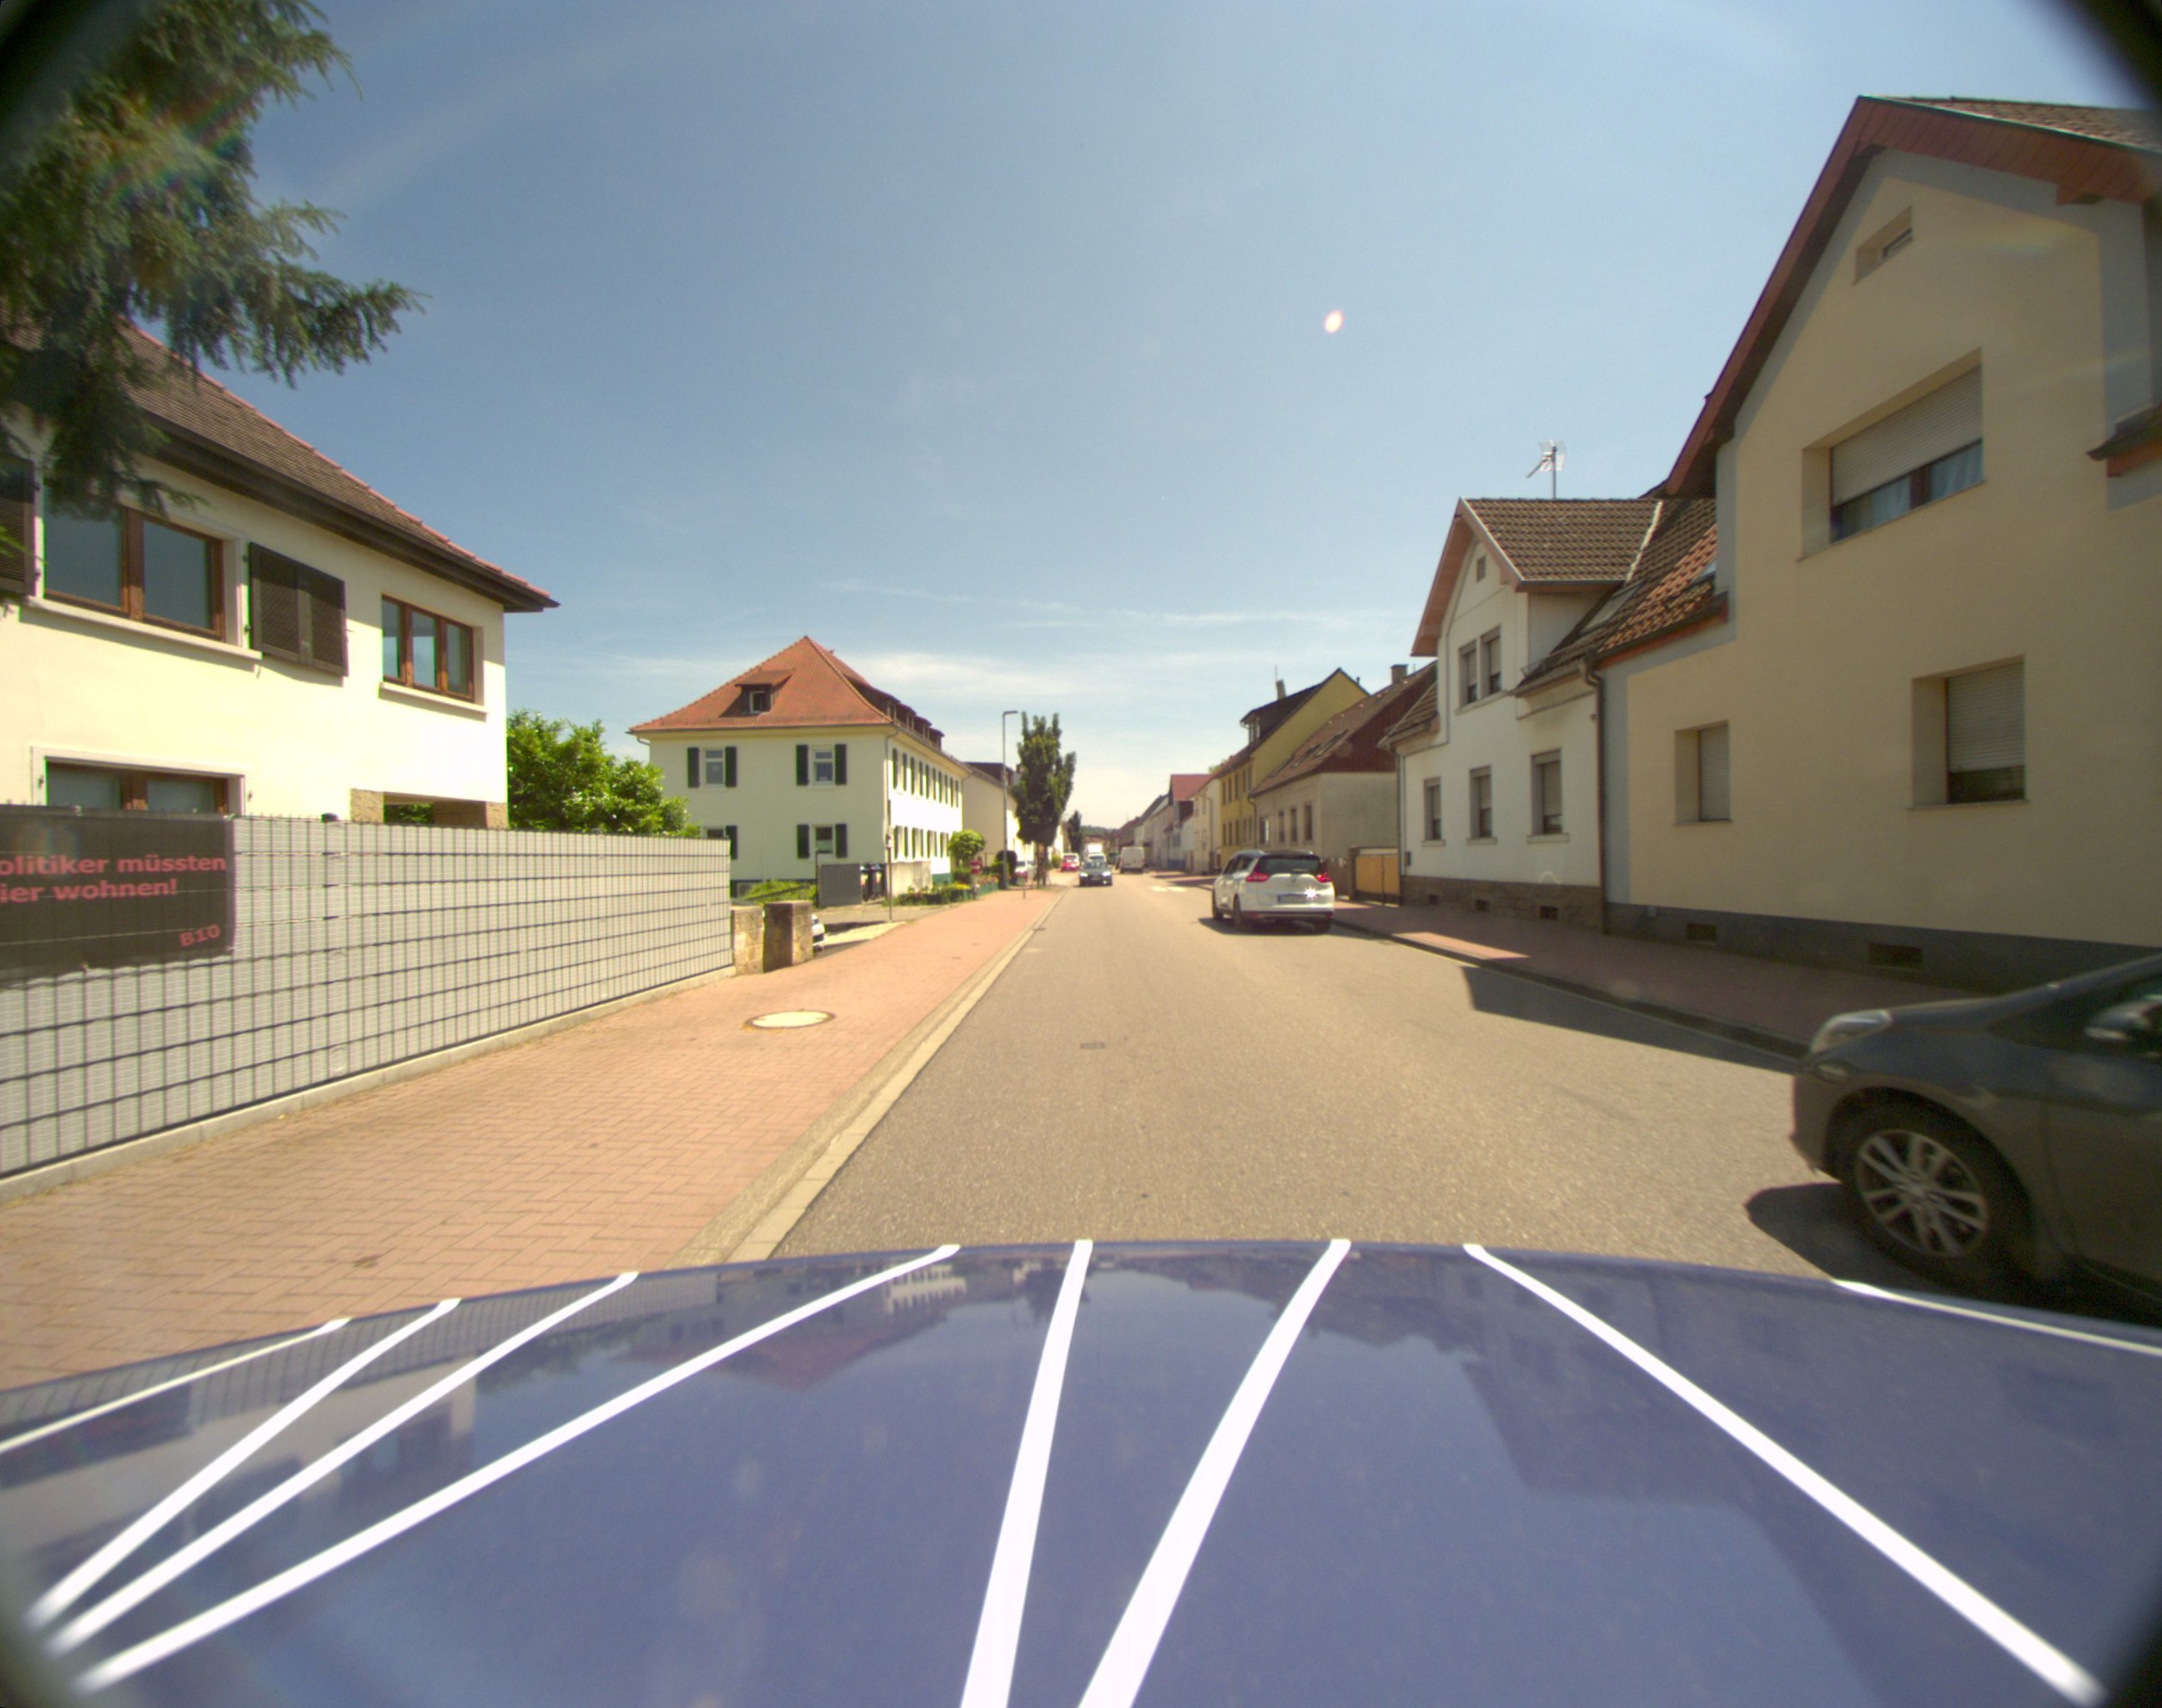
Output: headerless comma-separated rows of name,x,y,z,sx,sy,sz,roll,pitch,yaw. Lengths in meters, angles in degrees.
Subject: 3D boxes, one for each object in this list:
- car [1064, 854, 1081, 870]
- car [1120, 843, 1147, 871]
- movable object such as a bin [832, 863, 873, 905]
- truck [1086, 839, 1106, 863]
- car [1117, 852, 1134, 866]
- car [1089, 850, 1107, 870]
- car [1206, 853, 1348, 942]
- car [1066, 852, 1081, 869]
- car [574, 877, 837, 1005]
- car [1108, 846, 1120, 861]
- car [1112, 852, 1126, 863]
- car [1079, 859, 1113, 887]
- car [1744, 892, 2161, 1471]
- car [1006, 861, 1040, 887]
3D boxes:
car,-0.883,0.820,78.536,1.636,1.572,3.570,1,0,1
car,4.902,0.283,71.773,2.115,2.517,4.914,1,0,0
movable object such as a bin,-8.166,1.059,27.190,1.052,1.422,0.901,-4,1,3
truck,2.347,-0.455,119.097,2.898,3.516,12.954,-1,0,1
car,5.254,0.592,90.184,1.982,1.624,4.251,1,0,2
car,1.670,0.569,72.979,1.636,1.833,3.570,-1,0,2
car,3.982,0.803,16.255,1.878,1.594,4.431,1,0,0
car,-0.869,0.731,85.725,1.636,1.833,3.570,1,0,0
car,-6.970,1.590,14.328,3.967,1.541,1.637,-11,0,4
car,5.836,-0.036,133.814,1.982,2.502,4.251,1,0,1
car,5.923,0.528,117.511,1.982,1.507,4.251,-1,0,1
car,0.850,0.983,41.189,1.705,1.346,4.000,-2,0,1
car,3.678,0.913,1.294,1.680,1.450,3.928,1,0,1
car,-3.721,1.268,49.400,1.508,1.521,4.437,-3,0,3
